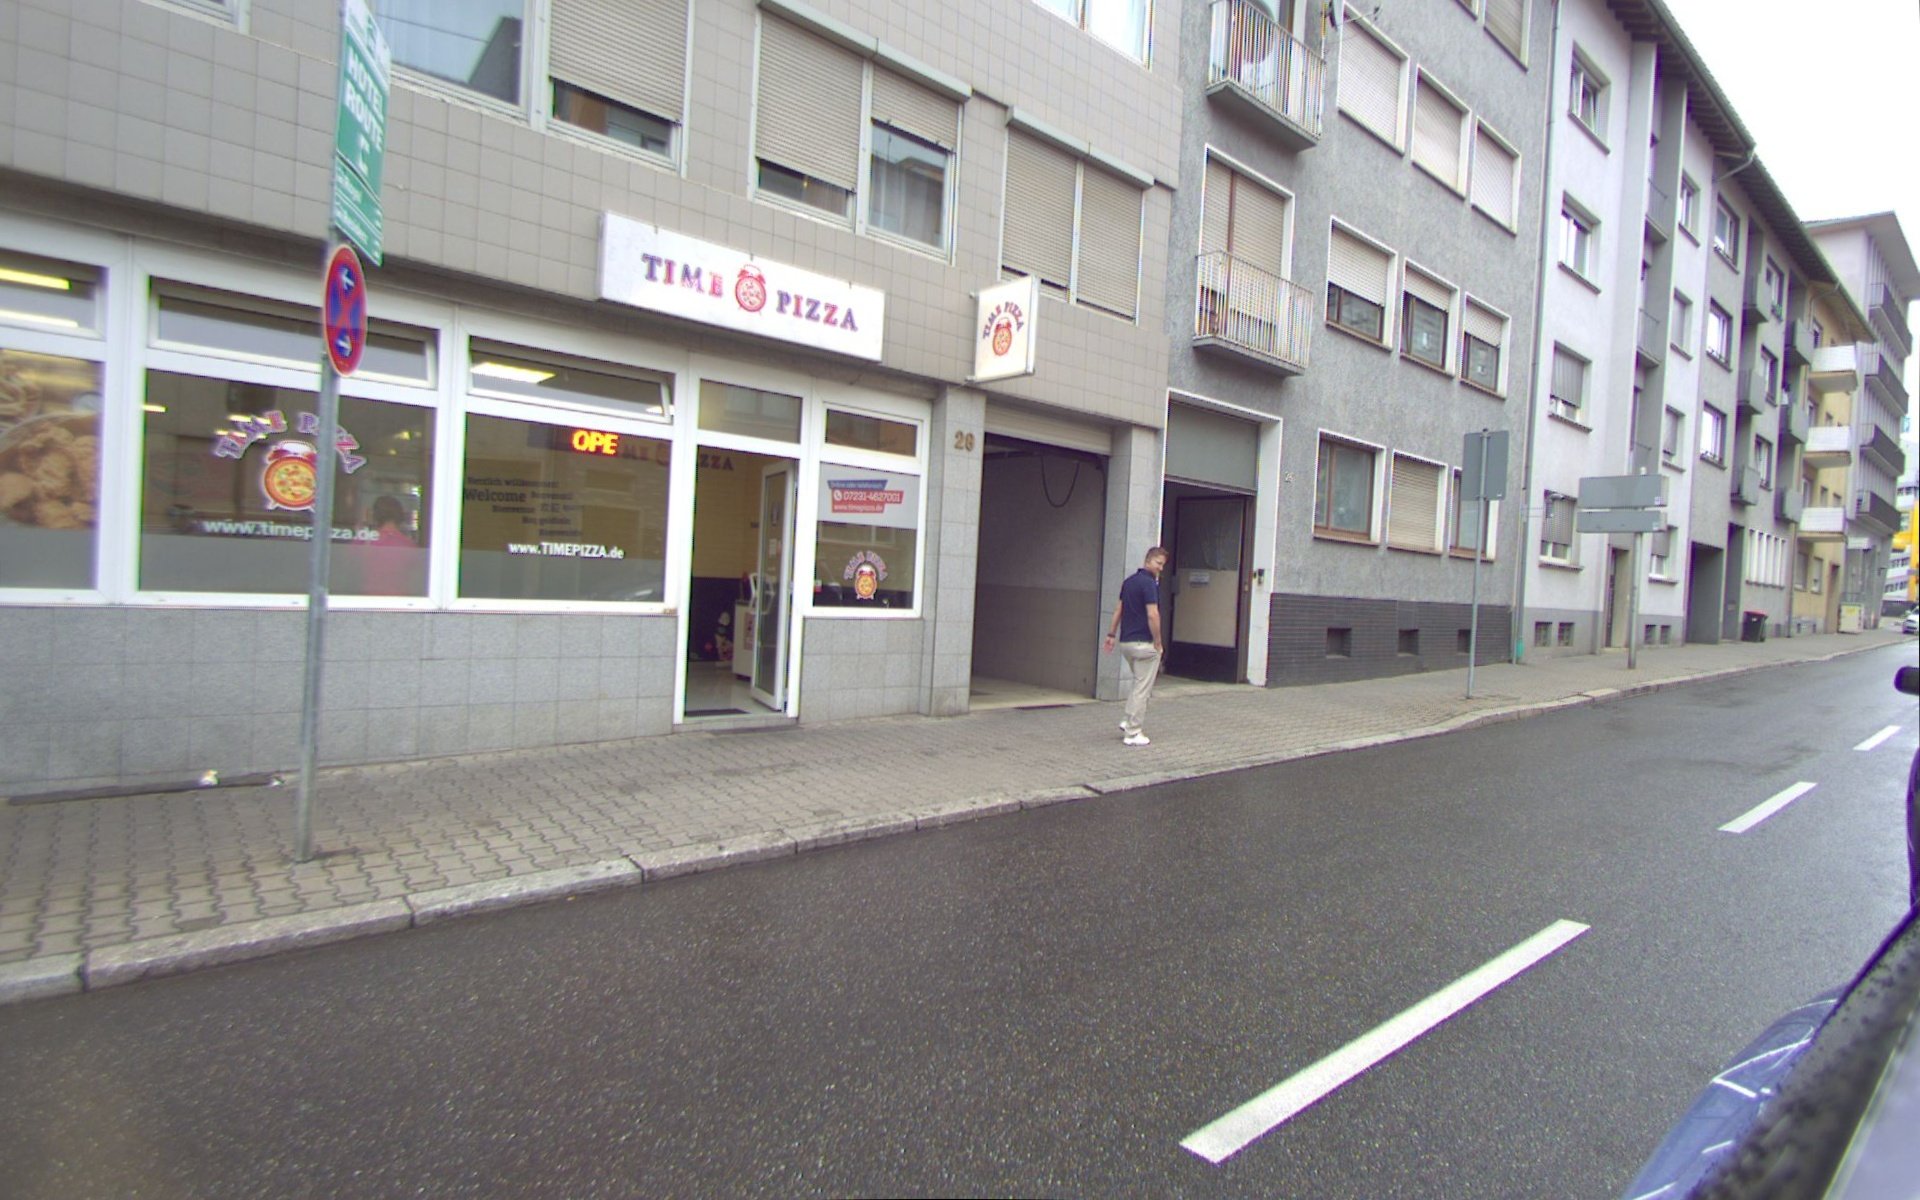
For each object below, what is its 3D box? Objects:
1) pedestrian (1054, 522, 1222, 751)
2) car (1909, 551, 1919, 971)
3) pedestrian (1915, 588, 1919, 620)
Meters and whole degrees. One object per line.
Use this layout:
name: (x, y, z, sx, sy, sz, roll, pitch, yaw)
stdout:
pedestrian: (1.613, 0.285, 9.182, 1.100, 1.887, 0.871, 0, 6, -41)
car: (6.075, 0.650, 4.933, 4.144, 1.743, 1.697, -1, 0, -41)
pedestrian: (55.150, 0.254, 57.537, 1.117, 1.772, 0.946, 4, 3, 44)
